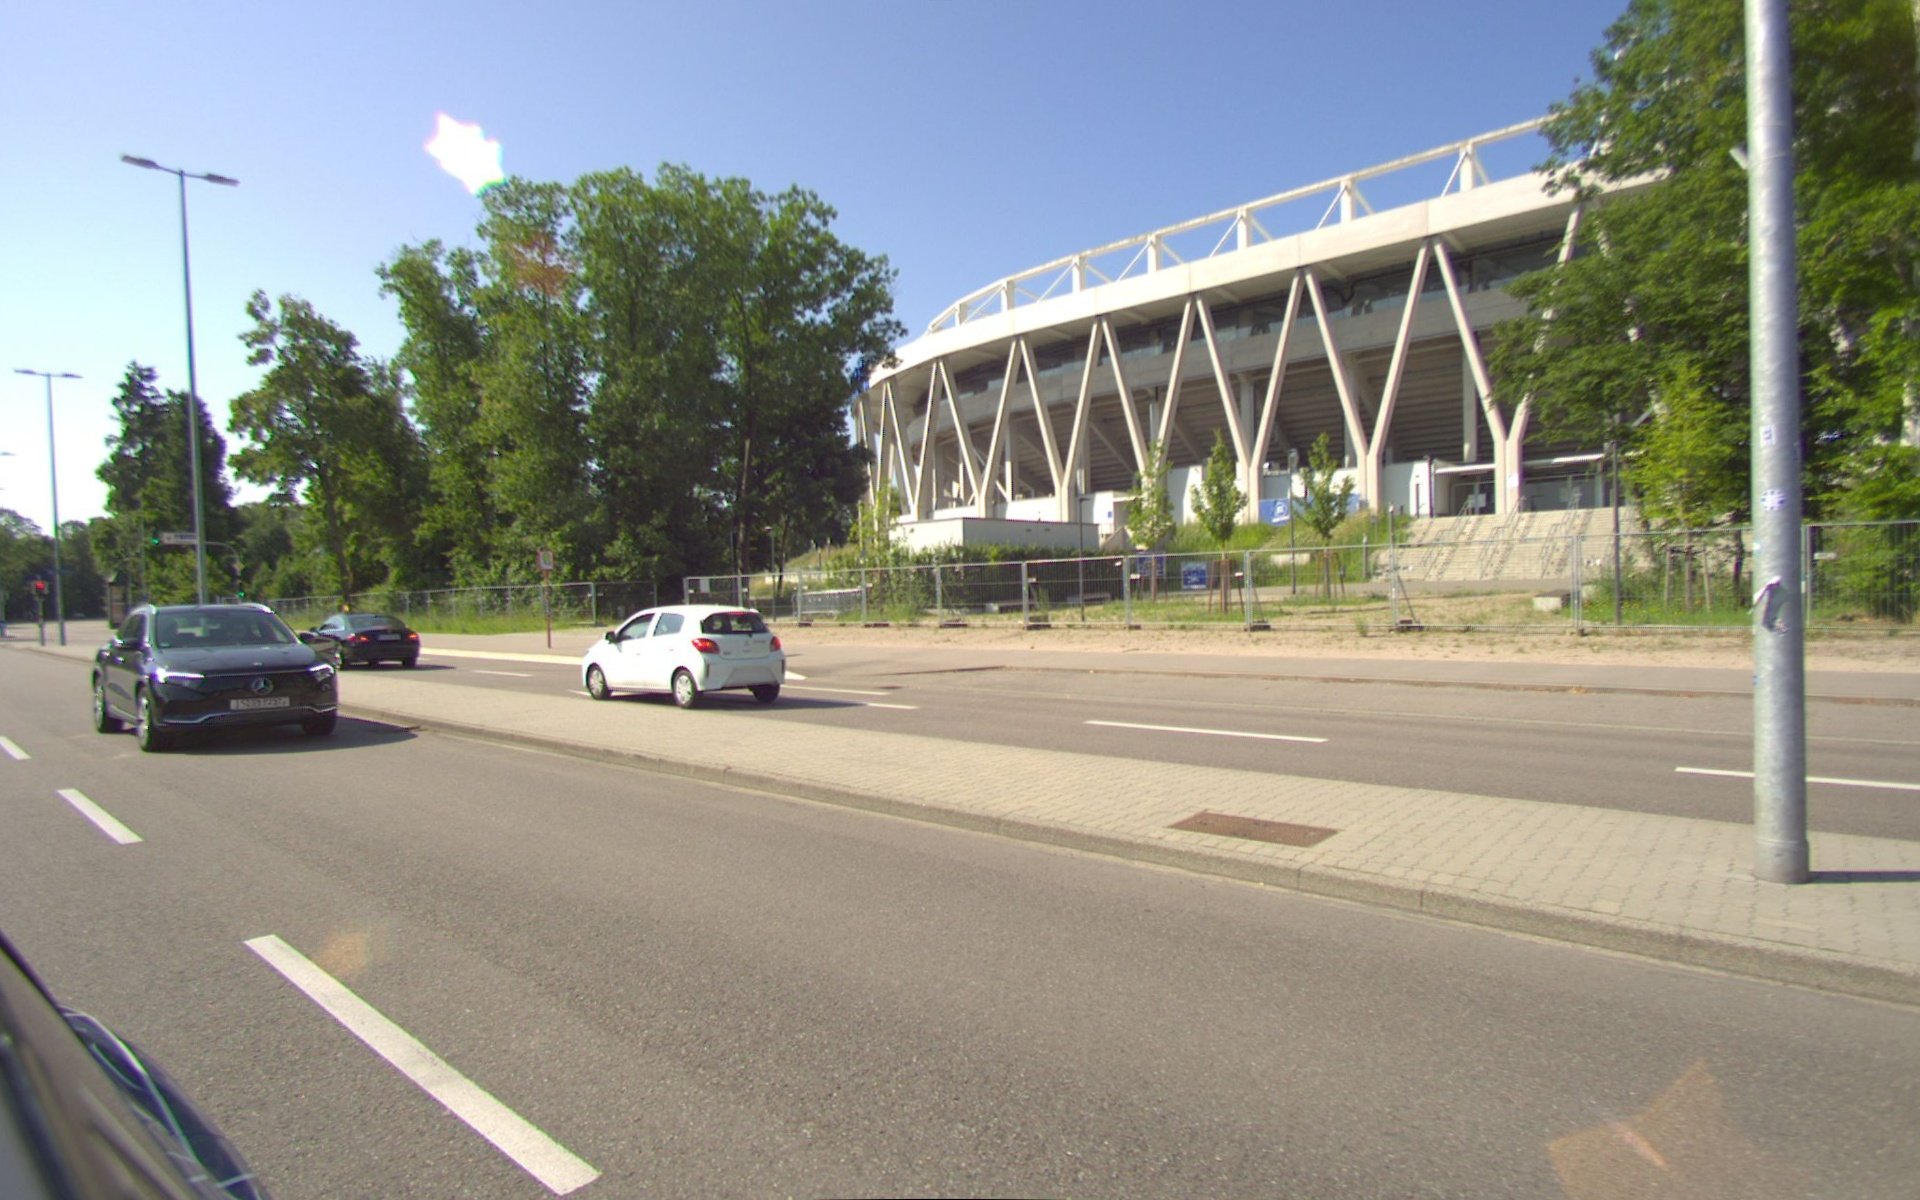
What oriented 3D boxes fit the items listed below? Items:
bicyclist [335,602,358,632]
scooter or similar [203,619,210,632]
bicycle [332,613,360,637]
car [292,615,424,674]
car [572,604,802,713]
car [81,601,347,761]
[{"bbox_3d":[-31.512,0.863,51.987,1.057,1.478,0.653,-2,2,41],"label":"bicyclist"},{"bbox_3d":[-66.504,2.229,89.360,0.390,1.154,1.198,-2,0,-40],"label":"scooter or similar"},{"bbox_3d":[-31.582,1.289,52.084,1.878,1.144,0.653,-2,2,42],"label":"bicycle"},{"bbox_3d":[-15.668,1.106,26.269,4.160,1.398,1.792,-1,-2,42],"label":"car"},{"bbox_3d":[-4.280,0.826,15.584,3.798,1.477,1.606,-1,-1,41],"label":"car"},{"bbox_3d":[-9.164,0.858,12.301,4.272,1.608,1.785,-1,-1,42],"label":"car"}]
